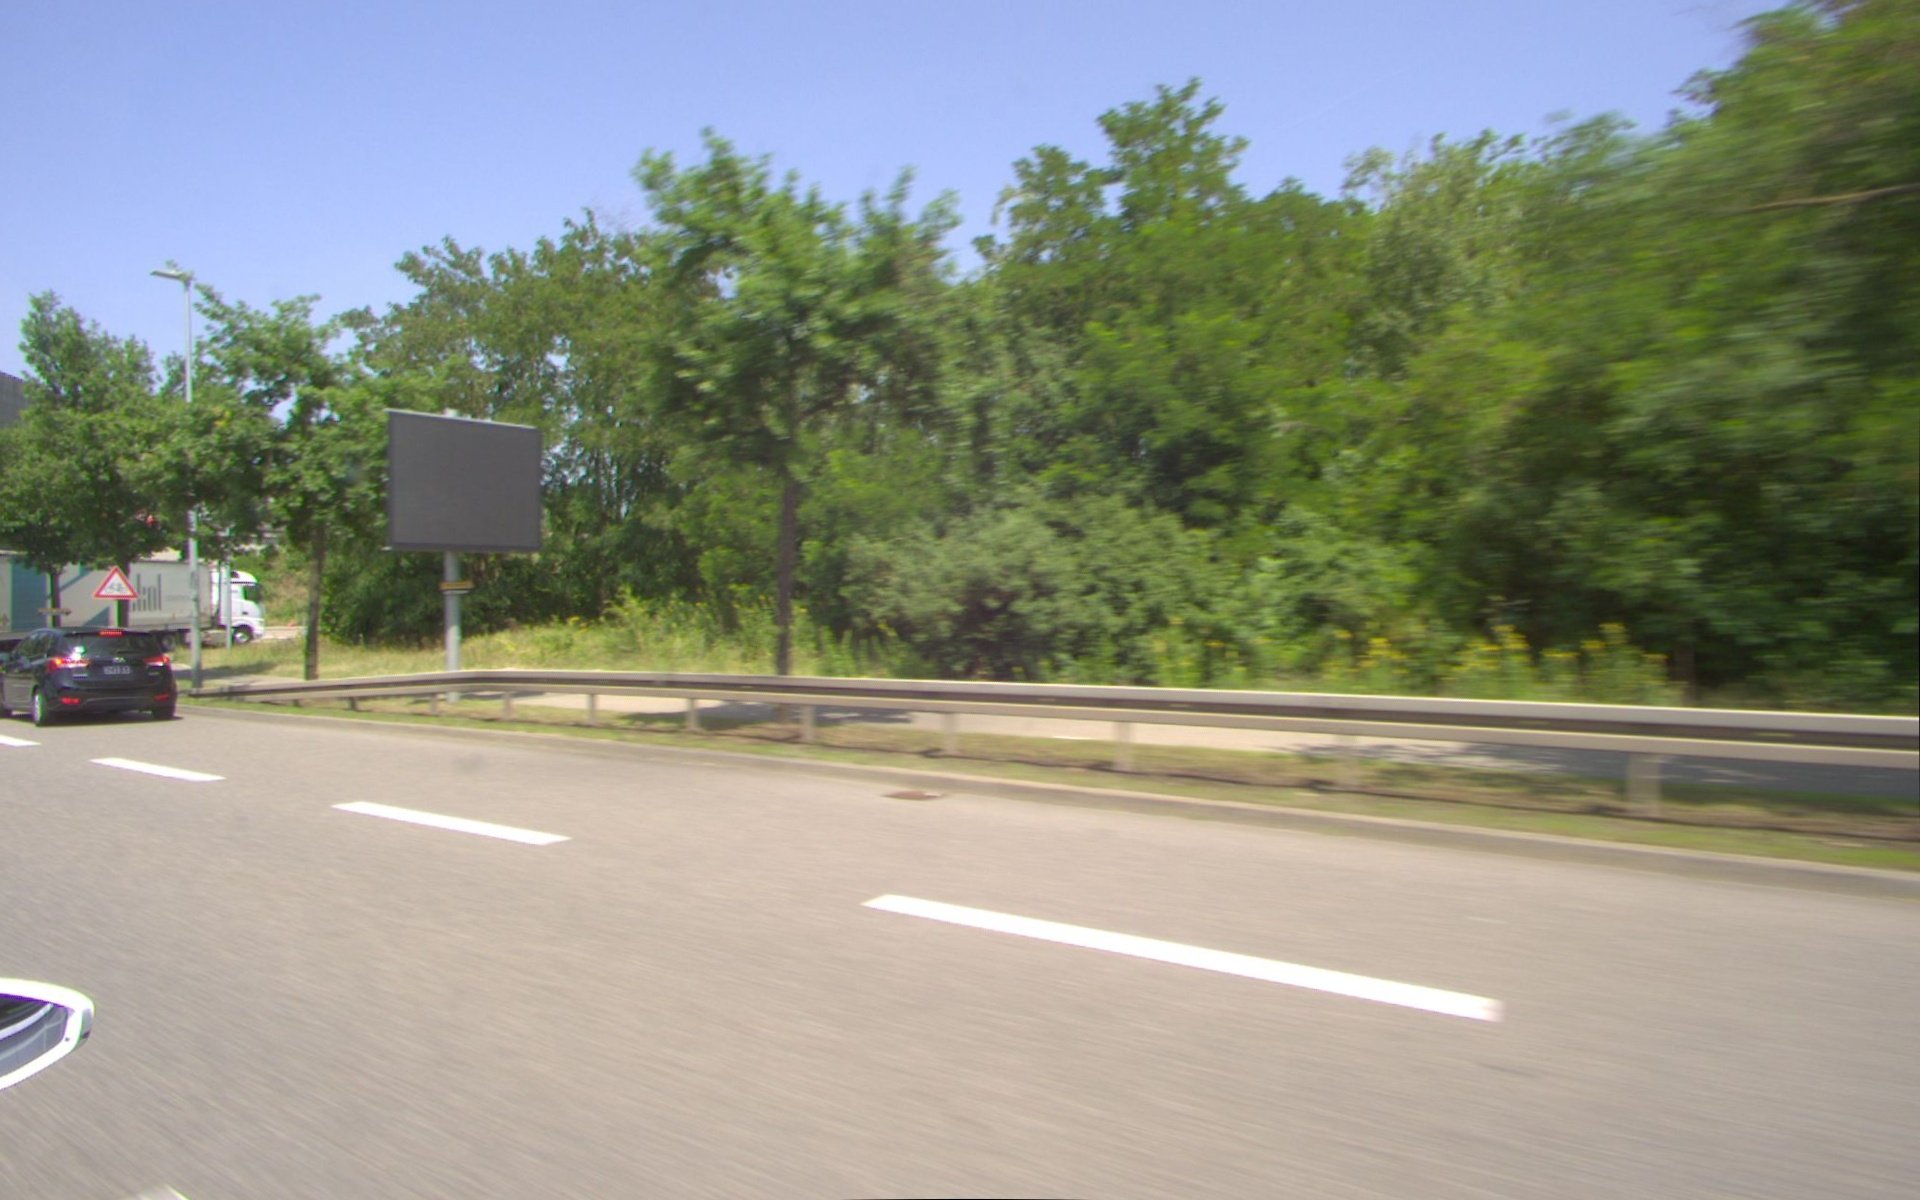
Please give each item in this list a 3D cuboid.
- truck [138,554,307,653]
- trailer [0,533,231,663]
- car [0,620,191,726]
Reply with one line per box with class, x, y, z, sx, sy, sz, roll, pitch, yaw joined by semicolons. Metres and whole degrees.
truck;-35.965;0.277;49.149;3.027;4.423;6.079;2;-2;11
trailer;-35.615;0.052;41.037;3.031;4.423;14.767;3;-2;-10
car;-15.037;1.161;17.278;4.024;1.620;1.761;-1;-1;36
